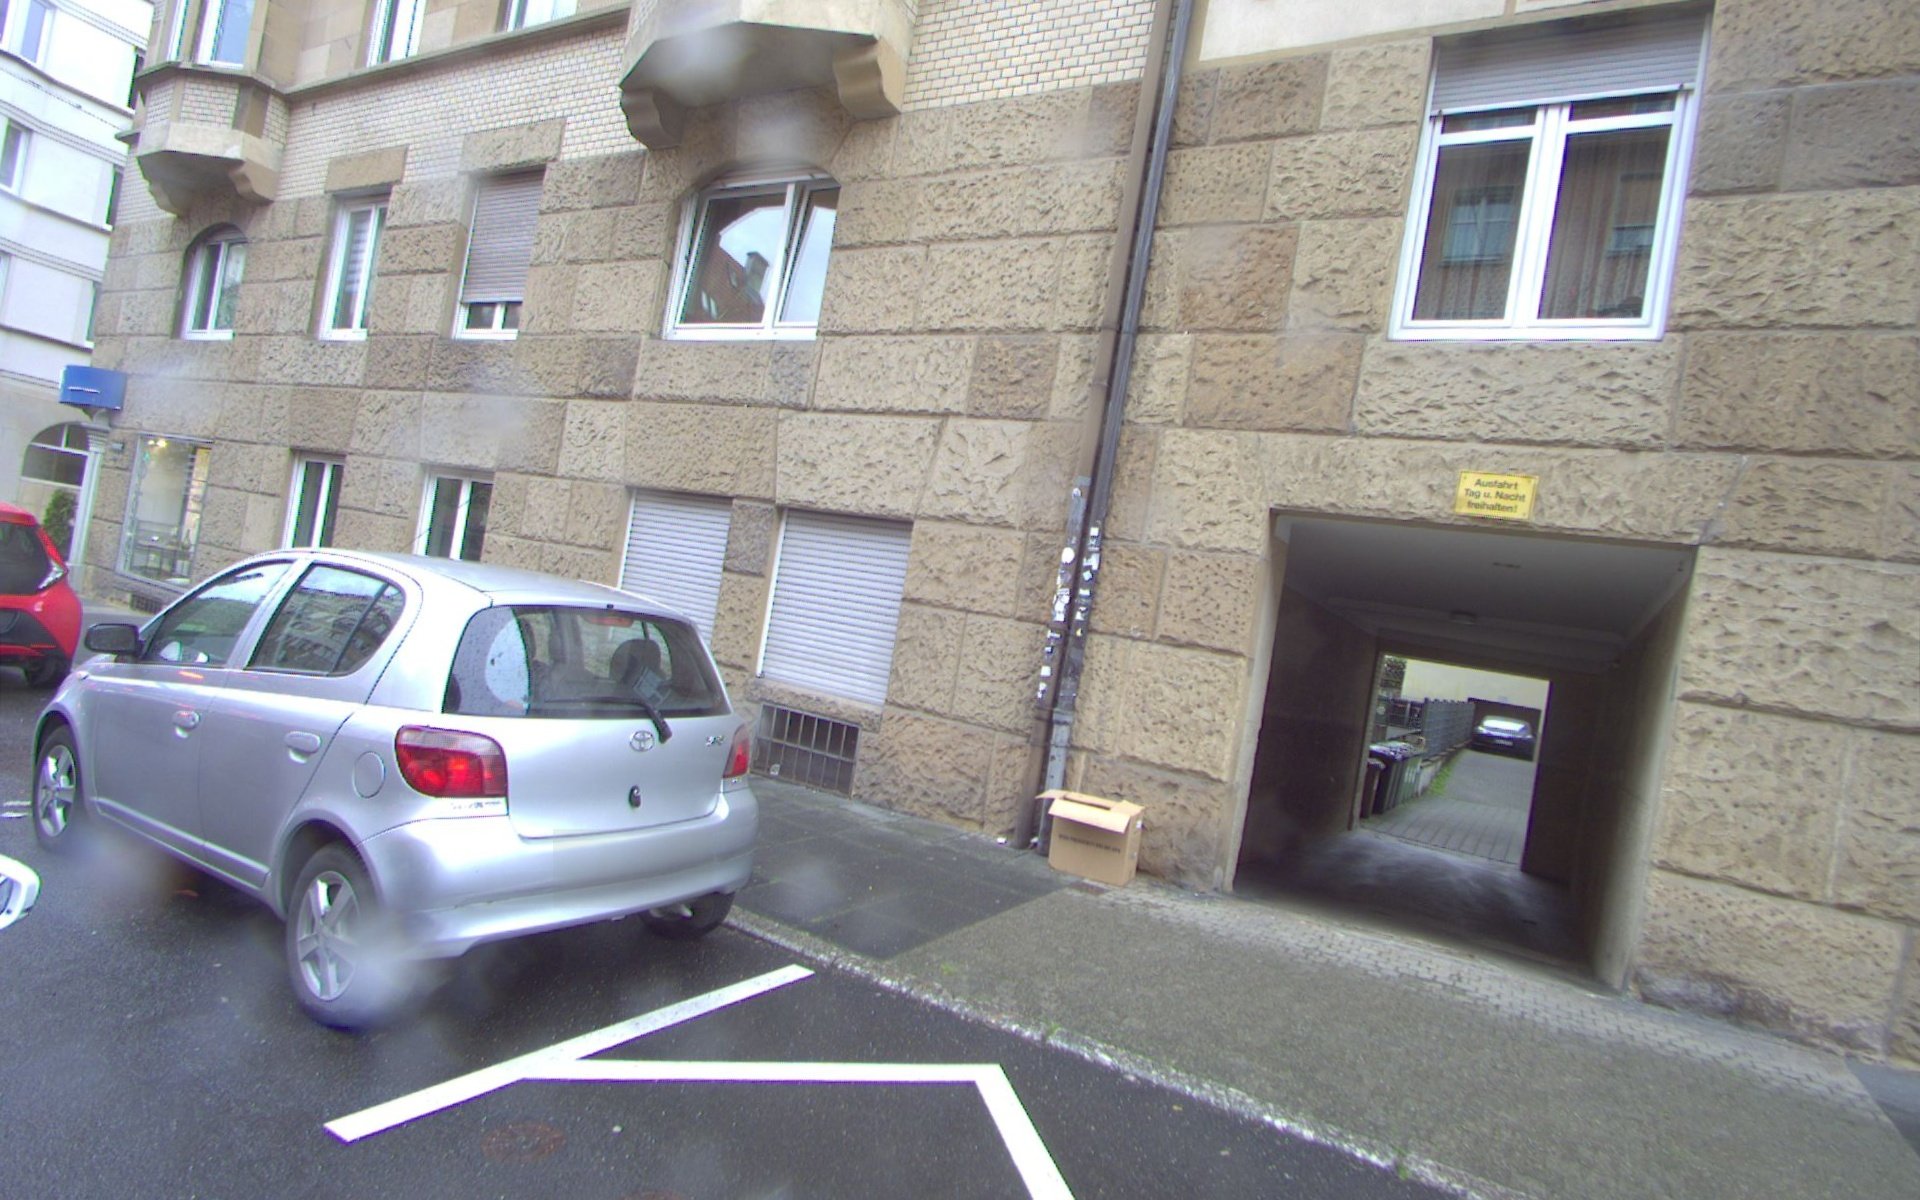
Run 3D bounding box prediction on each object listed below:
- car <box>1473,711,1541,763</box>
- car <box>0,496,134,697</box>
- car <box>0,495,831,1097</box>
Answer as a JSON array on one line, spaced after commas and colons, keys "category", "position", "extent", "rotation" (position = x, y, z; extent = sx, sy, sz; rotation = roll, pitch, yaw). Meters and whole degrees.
[{"category": "car", "position": [18.385, 4.557, 33.876], "extent": [1.764, 1.362, 4.014], "rotation": [6, -2, 28]}, {"category": "car", "position": [-8.695, -0.221, 8.237], "extent": [3.472, 1.469, 1.711], "rotation": [7, -3, 29]}, {"category": "car", "position": [-2.489, 0.512, 4.351], "extent": [3.464, 1.504, 1.597], "rotation": [7, -1, 32]}]
